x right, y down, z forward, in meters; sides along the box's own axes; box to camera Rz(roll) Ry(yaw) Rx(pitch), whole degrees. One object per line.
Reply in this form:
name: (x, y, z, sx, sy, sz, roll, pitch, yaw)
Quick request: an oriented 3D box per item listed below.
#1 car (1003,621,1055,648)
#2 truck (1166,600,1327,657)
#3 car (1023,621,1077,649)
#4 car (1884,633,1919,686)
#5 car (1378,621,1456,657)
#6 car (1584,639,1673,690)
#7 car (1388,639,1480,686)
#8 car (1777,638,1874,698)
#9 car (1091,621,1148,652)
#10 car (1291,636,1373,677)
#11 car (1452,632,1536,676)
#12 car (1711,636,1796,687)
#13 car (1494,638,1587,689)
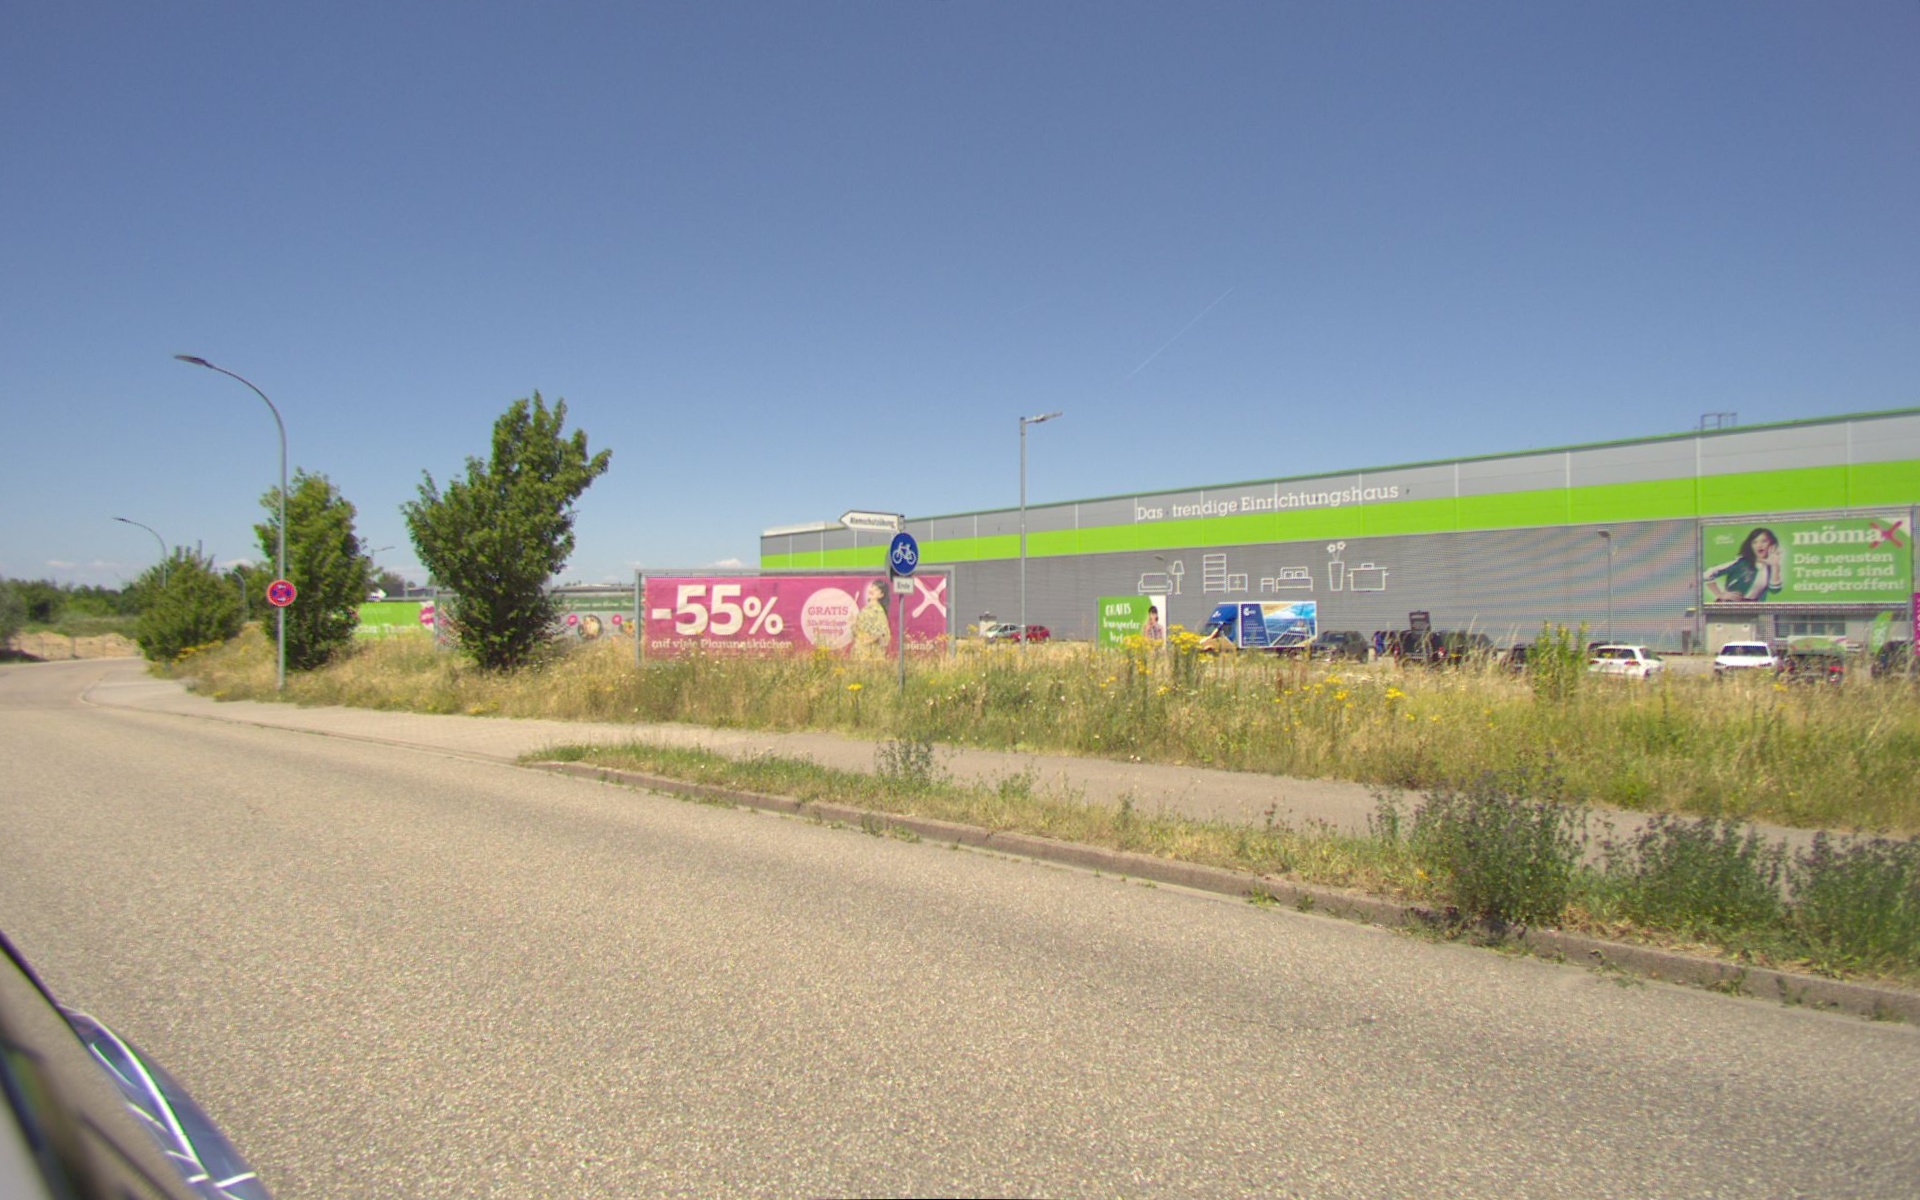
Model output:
car: (5.624, 2.764, 82.065, 3.937, 2.029, 1.914, -2, 0, -39)
truck: (15.186, 1.472, 53.842, 7.650, 2.704, 2.969, -2, -1, -11)
car: (7.185, 2.770, 80.376, 3.937, 2.029, 2.004, -2, 0, -39)
car: (32.657, 1.974, 34.193, 2.000, 1.524, 3.943, -2, 0, 44)
car: (25.842, 2.188, 57.273, 3.931, 1.785, 2.006, -2, 0, -28)
car: (23.037, 2.171, 34.829, 1.847, 1.448, 3.943, -2, 0, 44)
car: (18.230, 2.346, 38.858, 2.000, 1.478, 3.943, -2, 0, 44)
car: (26.500, 2.011, 30.944, 2.000, 1.524, 3.943, -2, 0, 44)
car: (11.793, 2.672, 74.945, 3.937, 2.029, 2.004, -2, 0, -39)
car: (18.433, 2.762, 50.087, 4.206, 1.775, 2.003, -2, -1, -41)
car: (22.034, 2.185, 41.702, 2.000, 1.524, 3.943, -2, 0, 44)
car: (28.321, 2.137, 36.075, 2.000, 1.524, 3.943, -2, 0, 44)
car: (20.911, 2.219, 36.402, 2.000, 1.524, 3.943, -2, 0, 44)
